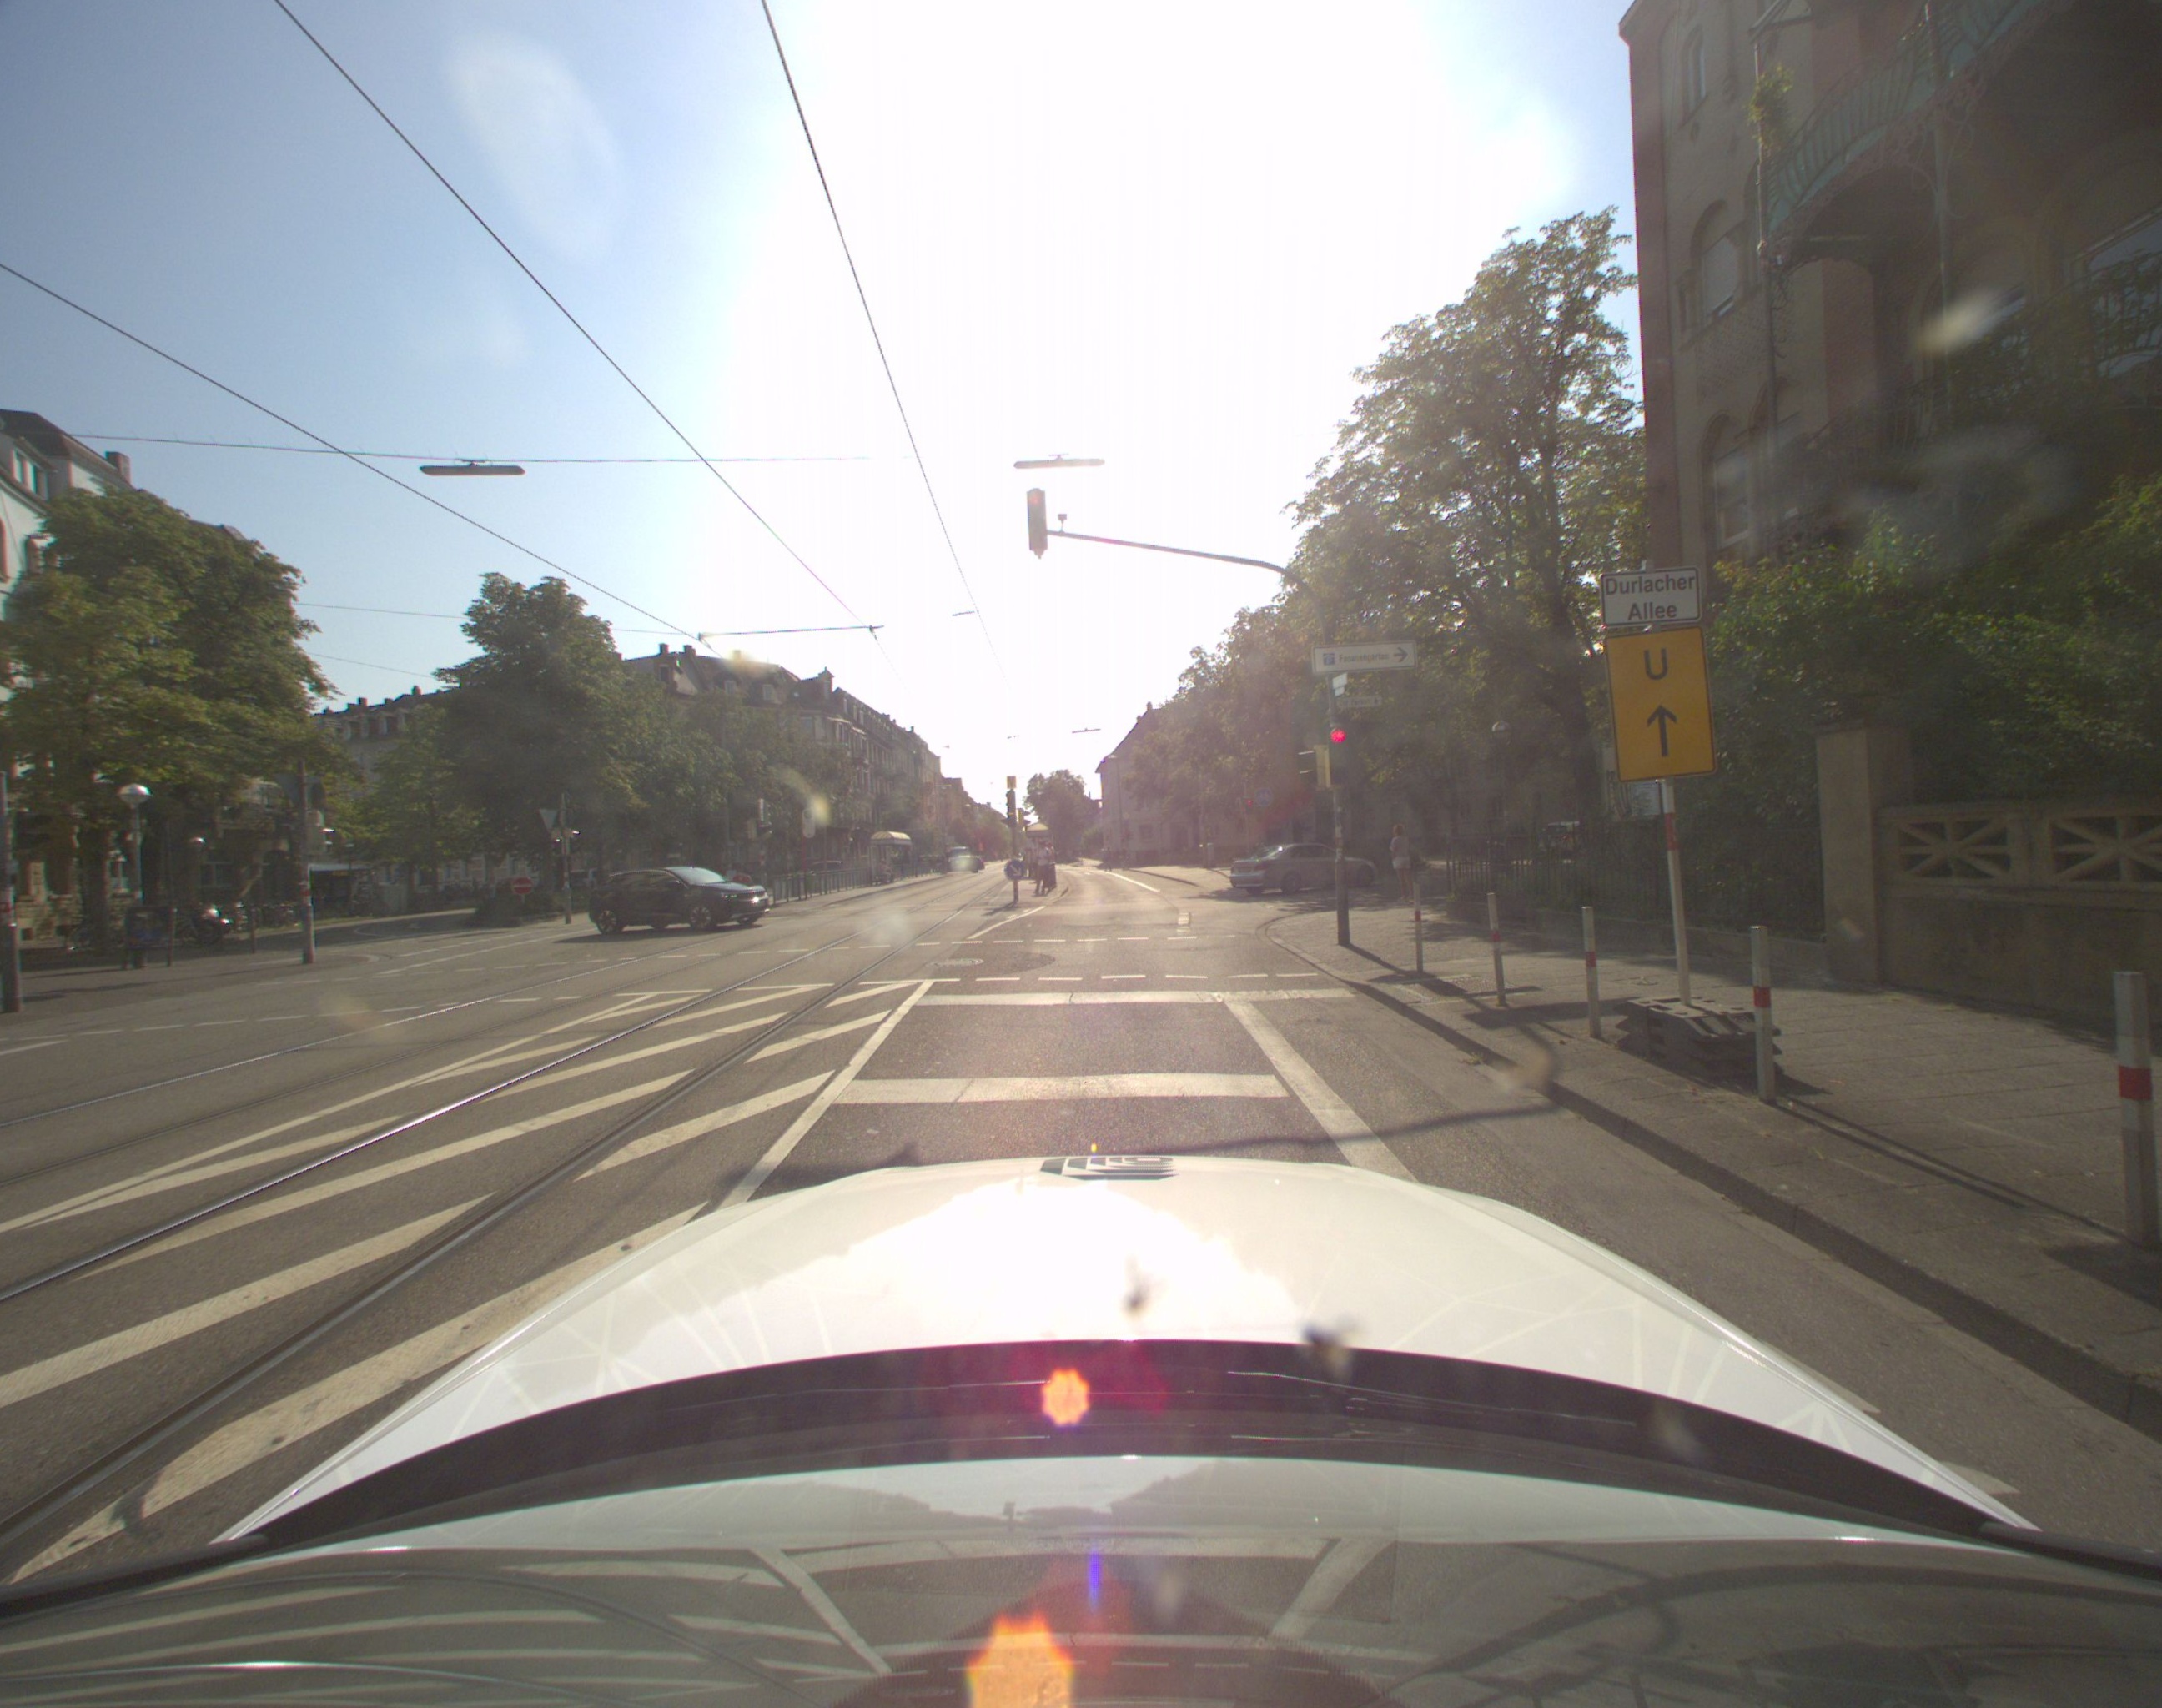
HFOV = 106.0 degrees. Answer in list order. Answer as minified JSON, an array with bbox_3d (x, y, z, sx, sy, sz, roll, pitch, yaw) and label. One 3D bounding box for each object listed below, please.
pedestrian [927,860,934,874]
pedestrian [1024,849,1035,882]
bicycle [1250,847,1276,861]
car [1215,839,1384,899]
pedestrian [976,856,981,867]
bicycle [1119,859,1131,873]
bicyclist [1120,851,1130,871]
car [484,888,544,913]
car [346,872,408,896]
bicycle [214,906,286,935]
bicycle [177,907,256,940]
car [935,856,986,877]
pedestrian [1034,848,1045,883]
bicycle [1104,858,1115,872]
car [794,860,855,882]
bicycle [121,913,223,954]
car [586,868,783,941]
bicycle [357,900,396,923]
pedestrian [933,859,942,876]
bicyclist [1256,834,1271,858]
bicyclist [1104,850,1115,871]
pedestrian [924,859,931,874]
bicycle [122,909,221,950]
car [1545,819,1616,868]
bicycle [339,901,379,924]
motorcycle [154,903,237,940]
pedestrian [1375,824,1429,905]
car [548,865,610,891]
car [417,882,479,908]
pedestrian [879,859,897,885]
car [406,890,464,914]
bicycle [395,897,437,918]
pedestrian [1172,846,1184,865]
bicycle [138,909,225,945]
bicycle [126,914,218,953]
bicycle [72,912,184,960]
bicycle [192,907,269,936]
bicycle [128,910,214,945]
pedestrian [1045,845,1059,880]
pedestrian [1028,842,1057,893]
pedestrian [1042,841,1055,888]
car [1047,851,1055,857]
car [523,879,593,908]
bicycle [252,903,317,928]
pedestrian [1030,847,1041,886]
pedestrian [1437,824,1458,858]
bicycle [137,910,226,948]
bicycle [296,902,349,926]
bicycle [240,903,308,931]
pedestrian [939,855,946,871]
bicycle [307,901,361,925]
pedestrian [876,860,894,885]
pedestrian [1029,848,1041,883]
[{"bbox_3d":[-18.303,1.565,99.364,0.750,1.731,0.769,-3,0,-11],"label":"pedestrian"},{"bbox_3d":[-2.754,0.602,43.547,0.530,1.759,0.545,0,2,-1],"label":"pedestrian"},{"bbox_3d":[14.578,0.001,65.173,1.917,0.978,0.500,-3,0,32],"label":"bicycle"},{"bbox_3d":[6.552,0.439,24.369,4.795,1.466,1.854,-3,-1,-26],"label":"car"},{"bbox_3d":[-16.851,1.183,133.541,0.750,1.731,0.769,-3,0,-11],"label":"pedestrian"},{"bbox_3d":[3.212,0.842,59.525,0.557,0.978,1.854,-3,0,-3],"label":"bicycle"},{"bbox_3d":[3.185,0.481,59.539,0.557,1.416,0.870,-3,0,-4],"label":"bicyclist"},{"bbox_3d":[-46.186,3.775,66.391,3.954,1.828,2.010,-3,0,19],"label":"car"},{"bbox_3d":[-61.696,2.639,71.430,3.962,1.828,2.006,-3,0,10],"label":"car"},{"bbox_3d":[-33.097,2.643,32.479,1.909,0.980,0.678,-2,-1,-36],"label":"bicycle"},{"bbox_3d":[-31.805,2.550,30.006,1.887,1.027,0.657,-2,-1,-36],"label":"bicycle"},{"bbox_3d":[-10.598,1.095,71.766,4.318,1.569,1.995,-3,0,-7],"label":"car"},{"bbox_3d":[-2.154,0.581,42.151,0.541,1.759,0.534,0,2,-2],"label":"pedestrian"},{"bbox_3d":[2.118,0.819,60.109,0.627,0.978,1.768,-3,0,-3],"label":"bicycle"},{"bbox_3d":[-21.076,1.390,67.034,4.358,1.569,1.977,-3,0,-39],"label":"car"},{"bbox_3d":[-26.063,2.261,23.382,0.562,1.003,1.890,-3,-1,34],"label":"bicycle"},{"bbox_3d":[-9.682,1.236,19.965,4.184,1.515,1.618,-3,1,14],"label":"car"},{"bbox_3d":[-34.994,2.840,40.489,0.423,0.978,1.768,-3,0,-2],"label":"bicycle"},{"bbox_3d":[-15.013,1.391,85.397,0.747,1.731,0.771,-3,0,0],"label":"pedestrian"},{"bbox_3d":[14.603,-0.620,65.143,0.977,1.857,0.496,-3,0,32],"label":"bicyclist"},{"bbox_3d":[2.107,0.485,60.107,0.627,1.507,0.678,-3,0,-4],"label":"bicyclist"},{"bbox_3d":[-18.115,1.522,95.941,0.750,1.731,0.769,-3,0,-11],"label":"pedestrian"},{"bbox_3d":[-27.168,2.235,24.365,1.888,1.034,0.563,-2,-1,-41],"label":"bicycle"},{"bbox_3d":[18.893,-0.434,30.975,1.975,1.630,4.359,-3,0,28],"label":"car"},{"bbox_3d":[-35.344,2.851,39.887,0.423,0.978,1.768,-3,0,-2],"label":"bicycle"},{"bbox_3d":[-31.469,2.378,28.968,1.883,1.154,0.601,-2,-1,-36],"label":"motorcycle"},{"bbox_3d":[7.143,0.220,18.122,0.750,1.731,0.769,-3,0,-11],"label":"pedestrian"},{"bbox_3d":[-39.313,1.879,63.817,3.954,1.828,2.010,-3,0,19],"label":"car"},{"bbox_3d":[-50.834,3.292,65.390,3.954,1.828,2.010,-3,0,19],"label":"car"},{"bbox_3d":[-10.793,1.009,45.640,0.827,1.359,0.774,-3,0,-7],"label":"pedestrian"},{"bbox_3d":[-55.065,4.078,69.465,3.954,1.828,2.010,-3,0,19],"label":"car"},{"bbox_3d":[-35.751,2.864,43.775,1.756,0.978,0.606,-3,0,5],"label":"bicycle"},{"bbox_3d":[9.157,0.131,76.727,0.883,1.740,0.781,-3,0,26],"label":"pedestrian"},{"bbox_3d":[-28.964,2.349,26.264,1.815,0.983,0.652,-2,-1,-43],"label":"bicycle"},{"bbox_3d":[-24.978,2.176,22.407,0.473,0.920,1.619,-3,-1,28],"label":"bicycle"},{"bbox_3d":[-25.861,2.206,22.148,0.563,1.113,1.887,-3,-1,19],"label":"bicycle"},{"bbox_3d":[-32.443,2.572,31.103,1.920,0.935,0.730,-2,-1,-36],"label":"bicycle"},{"bbox_3d":[-29.842,2.396,26.744,1.815,0.977,0.652,-2,-1,-43],"label":"bicycle"},{"bbox_3d":[-1.490,0.436,41.555,0.707,1.759,0.534,0,2,-2],"label":"pedestrian"},{"bbox_3d":[-1.338,0.470,28.395,0.693,1.725,0.753,1,3,31],"label":"pedestrian"},{"bbox_3d":[-1.300,0.419,32.663,0.503,1.833,0.534,0,2,-2],"label":"pedestrian"},{"bbox_3d":[-9.458,-0.018,259.994,1.984,1.783,4.006,-2,0,5],"label":"car"},{"bbox_3d":[-38.526,2.891,60.054,3.962,1.828,2.006,-3,0,10],"label":"car"},{"bbox_3d":[-34.327,2.647,35.134,1.879,0.935,0.634,-2,-1,-20],"label":"bicycle"},{"bbox_3d":[-2.085,0.574,37.336,0.503,1.759,0.534,0,2,-2],"label":"pedestrian"},{"bbox_3d":[19.651,-0.693,43.701,0.884,1.740,0.780,-3,0,17],"label":"pedestrian"},{"bbox_3d":[-28.074,2.329,25.461,1.815,0.984,0.563,-2,-1,-43],"label":"bicycle"},{"bbox_3d":[-36.421,2.889,39.128,1.773,0.978,0.516,-3,0,-24],"label":"bicycle"},{"bbox_3d":[-33.496,2.594,33.826,1.909,0.980,0.678,-2,-1,-36],"label":"bicycle"},{"bbox_3d":[-15.361,1.031,90.393,0.750,1.731,0.769,-3,0,-11],"label":"pedestrian"},{"bbox_3d":[-36.580,2.890,39.898,1.773,0.978,0.600,-3,0,-25],"label":"bicycle"},{"bbox_3d":[-10.740,1.006,44.665,0.827,1.359,0.774,-3,0,-7],"label":"pedestrian"},{"bbox_3d":[-2.341,0.593,41.335,0.541,1.759,0.534,0,2,-2],"label":"pedestrian"}]
